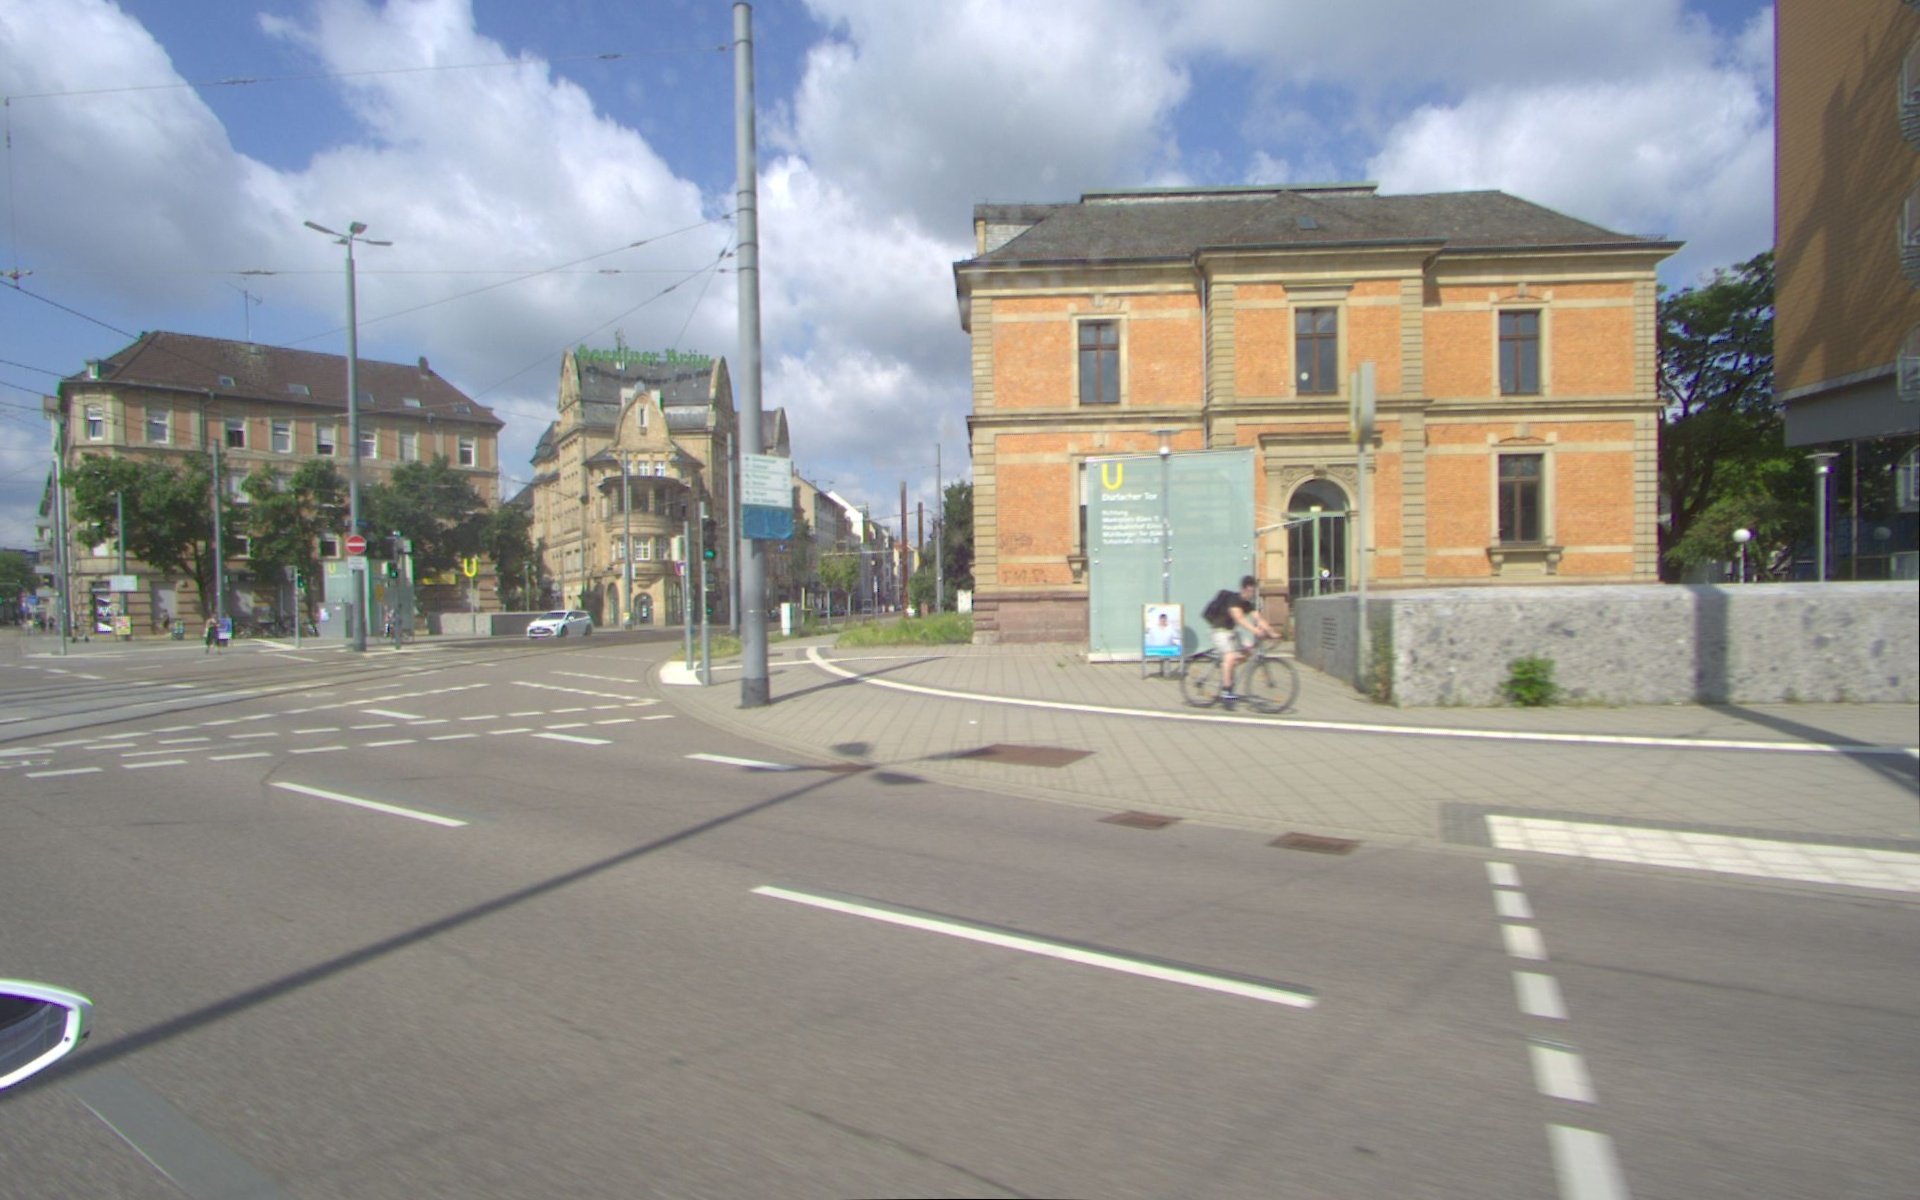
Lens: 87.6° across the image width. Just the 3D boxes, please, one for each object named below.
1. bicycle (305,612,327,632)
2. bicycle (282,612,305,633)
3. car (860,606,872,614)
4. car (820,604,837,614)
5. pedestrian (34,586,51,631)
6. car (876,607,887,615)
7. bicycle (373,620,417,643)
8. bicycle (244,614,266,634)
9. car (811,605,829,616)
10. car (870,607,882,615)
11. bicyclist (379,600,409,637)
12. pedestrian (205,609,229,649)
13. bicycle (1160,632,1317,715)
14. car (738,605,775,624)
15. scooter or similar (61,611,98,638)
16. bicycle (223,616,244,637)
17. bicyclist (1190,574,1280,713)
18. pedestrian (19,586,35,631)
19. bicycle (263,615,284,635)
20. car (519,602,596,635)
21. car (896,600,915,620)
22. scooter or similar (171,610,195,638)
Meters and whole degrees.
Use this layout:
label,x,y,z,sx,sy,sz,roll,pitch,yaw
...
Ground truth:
label,x,y,z,sx,sy,sz,roll,pitch,yaw
bicycle,-39.260,1.344,61.008,0.753,1.181,2.661,-1,0,-41
bicycle,-39.882,1.339,59.901,0.753,1.181,2.661,-1,0,-41
car,-17.151,1.879,183.031,1.833,1.401,4.002,0,-2,1
car,-19.001,1.360,144.903,1.833,1.402,4.000,-1,0,1
pedestrian,-64.558,0.605,70.485,0.717,3.115,0.882,0,-1,-34
car,-16.042,2.220,204.231,1.833,1.401,4.002,0,-2,1
bicycle,-26.840,1.492,47.604,0.831,0.969,1.778,-2,0,9
bicycle,-41.413,1.396,58.829,0.753,1.181,2.661,-1,0,-41
car,-19.281,1.415,138.209,1.833,1.402,4.002,-1,-2,1
car,-16.524,2.167,197.264,1.833,1.401,4.002,0,-2,1
bicyclist,-26.872,0.871,47.578,0.603,1.696,1.147,-1,0,11
pedestrian,-29.516,1.144,39.778,0.733,1.536,0.541,-1,1,-35
bicycle,3.527,0.904,12.772,1.790,0.887,0.754,0,3,45
car,-18.752,1.358,92.424,1.804,1.616,3.998,-1,-2,13
scooter or similar,-47.329,1.339,53.814,2.772,1.403,1.171,-2,-2,41
bicycle,-42.297,1.538,58.310,0.753,1.181,2.661,-1,0,-41
bicyclist,3.491,0.537,12.740,0.927,1.694,0.574,0,2,44
pedestrian,-65.257,0.596,70.054,0.659,3.160,0.882,0,-1,-34
bicycle,-40.770,1.506,59.492,0.753,1.180,2.662,1,-2,-40
car,-20.802,1.001,51.939,1.919,1.616,4.508,-1,-2,4
car,-5.935,1.151,109.745,1.961,2.039,4.002,0,-2,-1
scooter or similar,-43.708,1.348,56.292,0.871,1.502,1.995,-1,0,-43
